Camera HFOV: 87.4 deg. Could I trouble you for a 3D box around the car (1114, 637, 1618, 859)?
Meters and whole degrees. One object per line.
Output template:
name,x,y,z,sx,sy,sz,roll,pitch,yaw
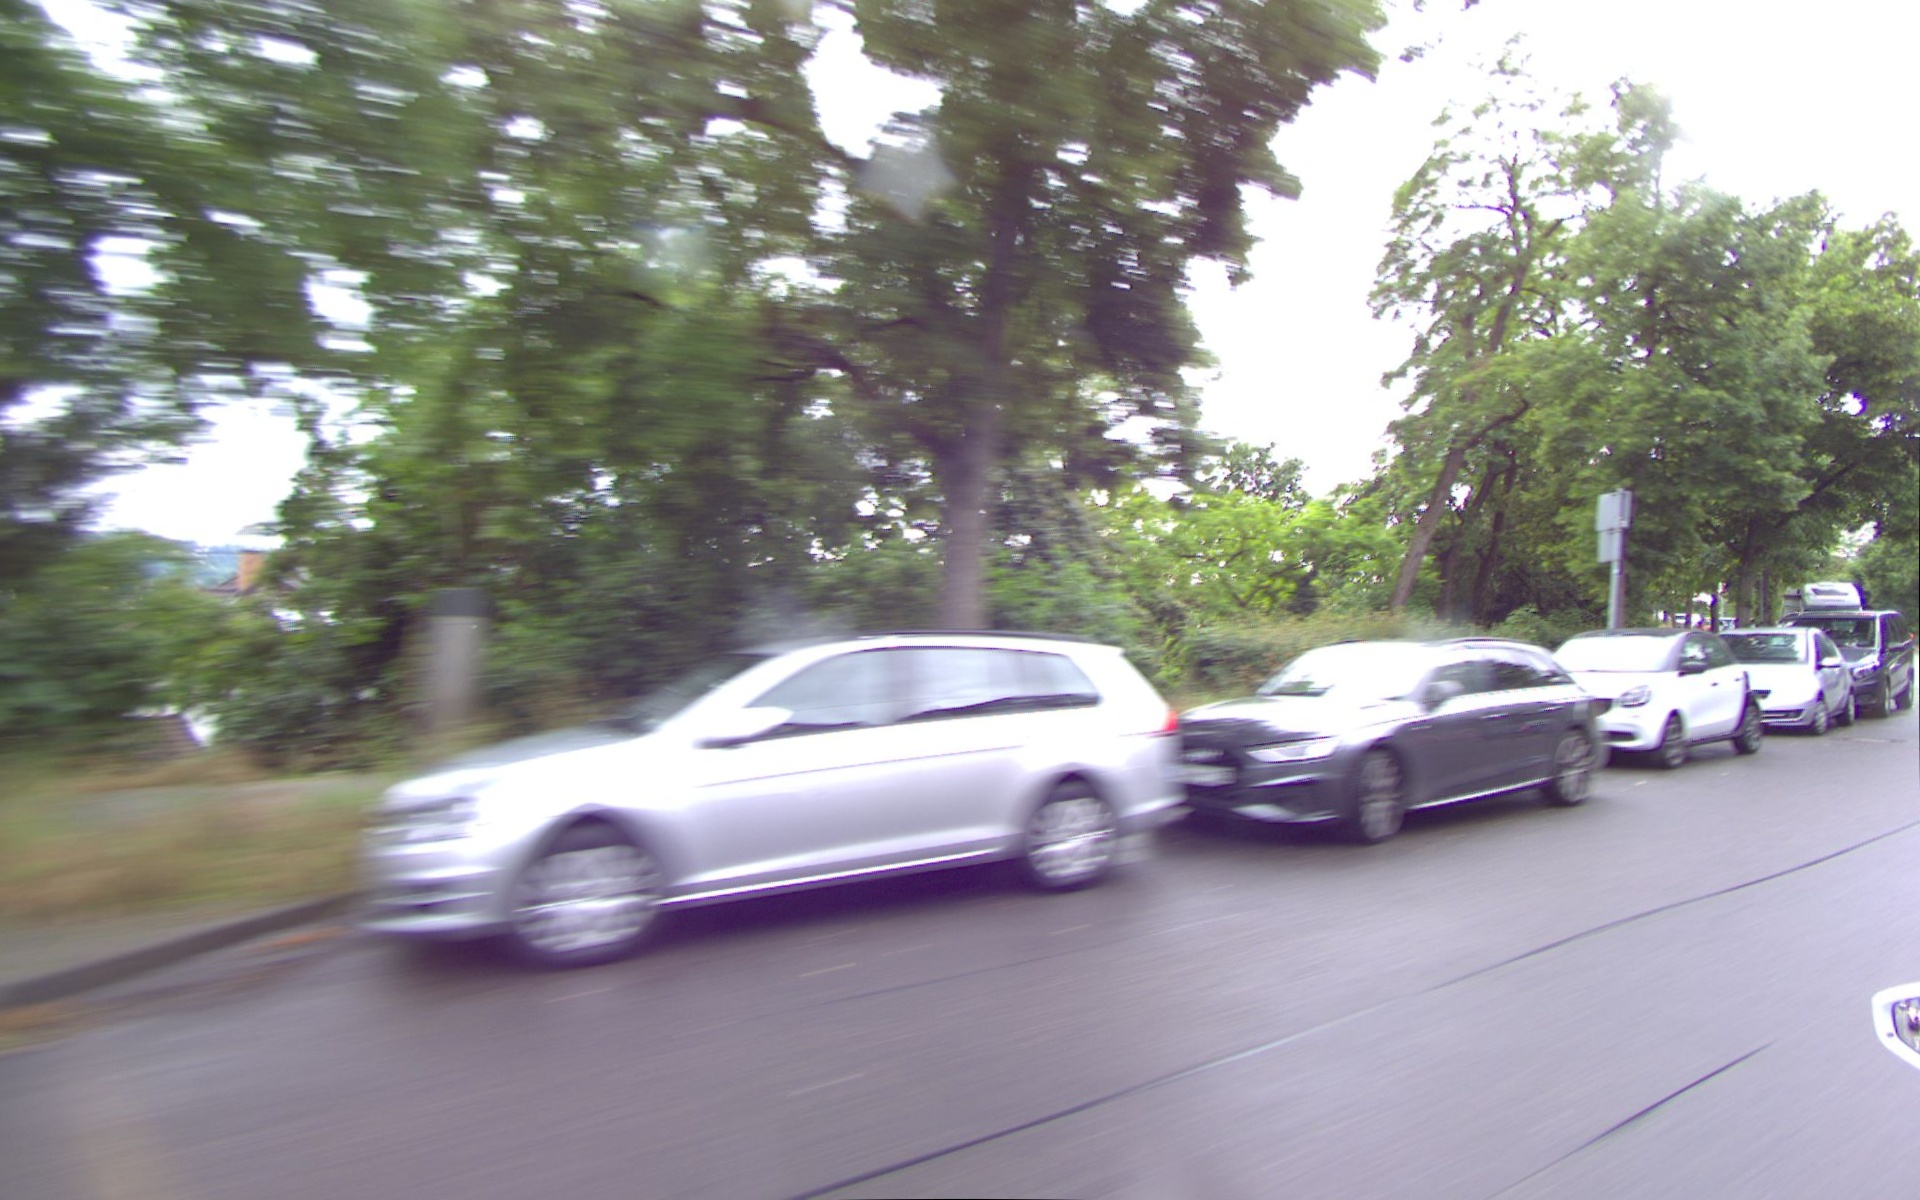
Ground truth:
car,3.491,1.028,8.313,4.455,1.398,1.673,2,-4,-34

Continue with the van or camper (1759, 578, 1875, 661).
van or camper,34.964,0.840,41.233,2.470,3.066,6.546,-3,-3,31

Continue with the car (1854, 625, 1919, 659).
car,48.521,2.162,52.639,1.795,1.638,3.778,0,-1,30

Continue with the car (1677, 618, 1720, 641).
car,47.377,1.876,64.517,1.966,1.424,4.701,0,-1,33

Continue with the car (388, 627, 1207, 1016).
car,-0.755,0.913,5.728,4.326,1.448,1.647,0,-2,-32

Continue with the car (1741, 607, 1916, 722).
car,17.373,1.189,19.996,4.963,1.993,1.937,0,-3,-42

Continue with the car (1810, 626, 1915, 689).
car,24.232,1.486,27.043,1.933,1.480,4.550,-2,-2,42

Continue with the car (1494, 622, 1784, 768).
car,8.507,1.092,12.473,4.166,1.529,1.672,2,-4,-37

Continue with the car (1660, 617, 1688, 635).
car,61.902,2.272,87.129,1.666,1.456,4.245,-3,-3,33

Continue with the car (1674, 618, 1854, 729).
car,12.976,1.140,16.143,3.739,1.572,1.668,2,-4,-42

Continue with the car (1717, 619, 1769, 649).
car,42.639,1.808,54.754,1.967,1.424,4.698,0,0,35
